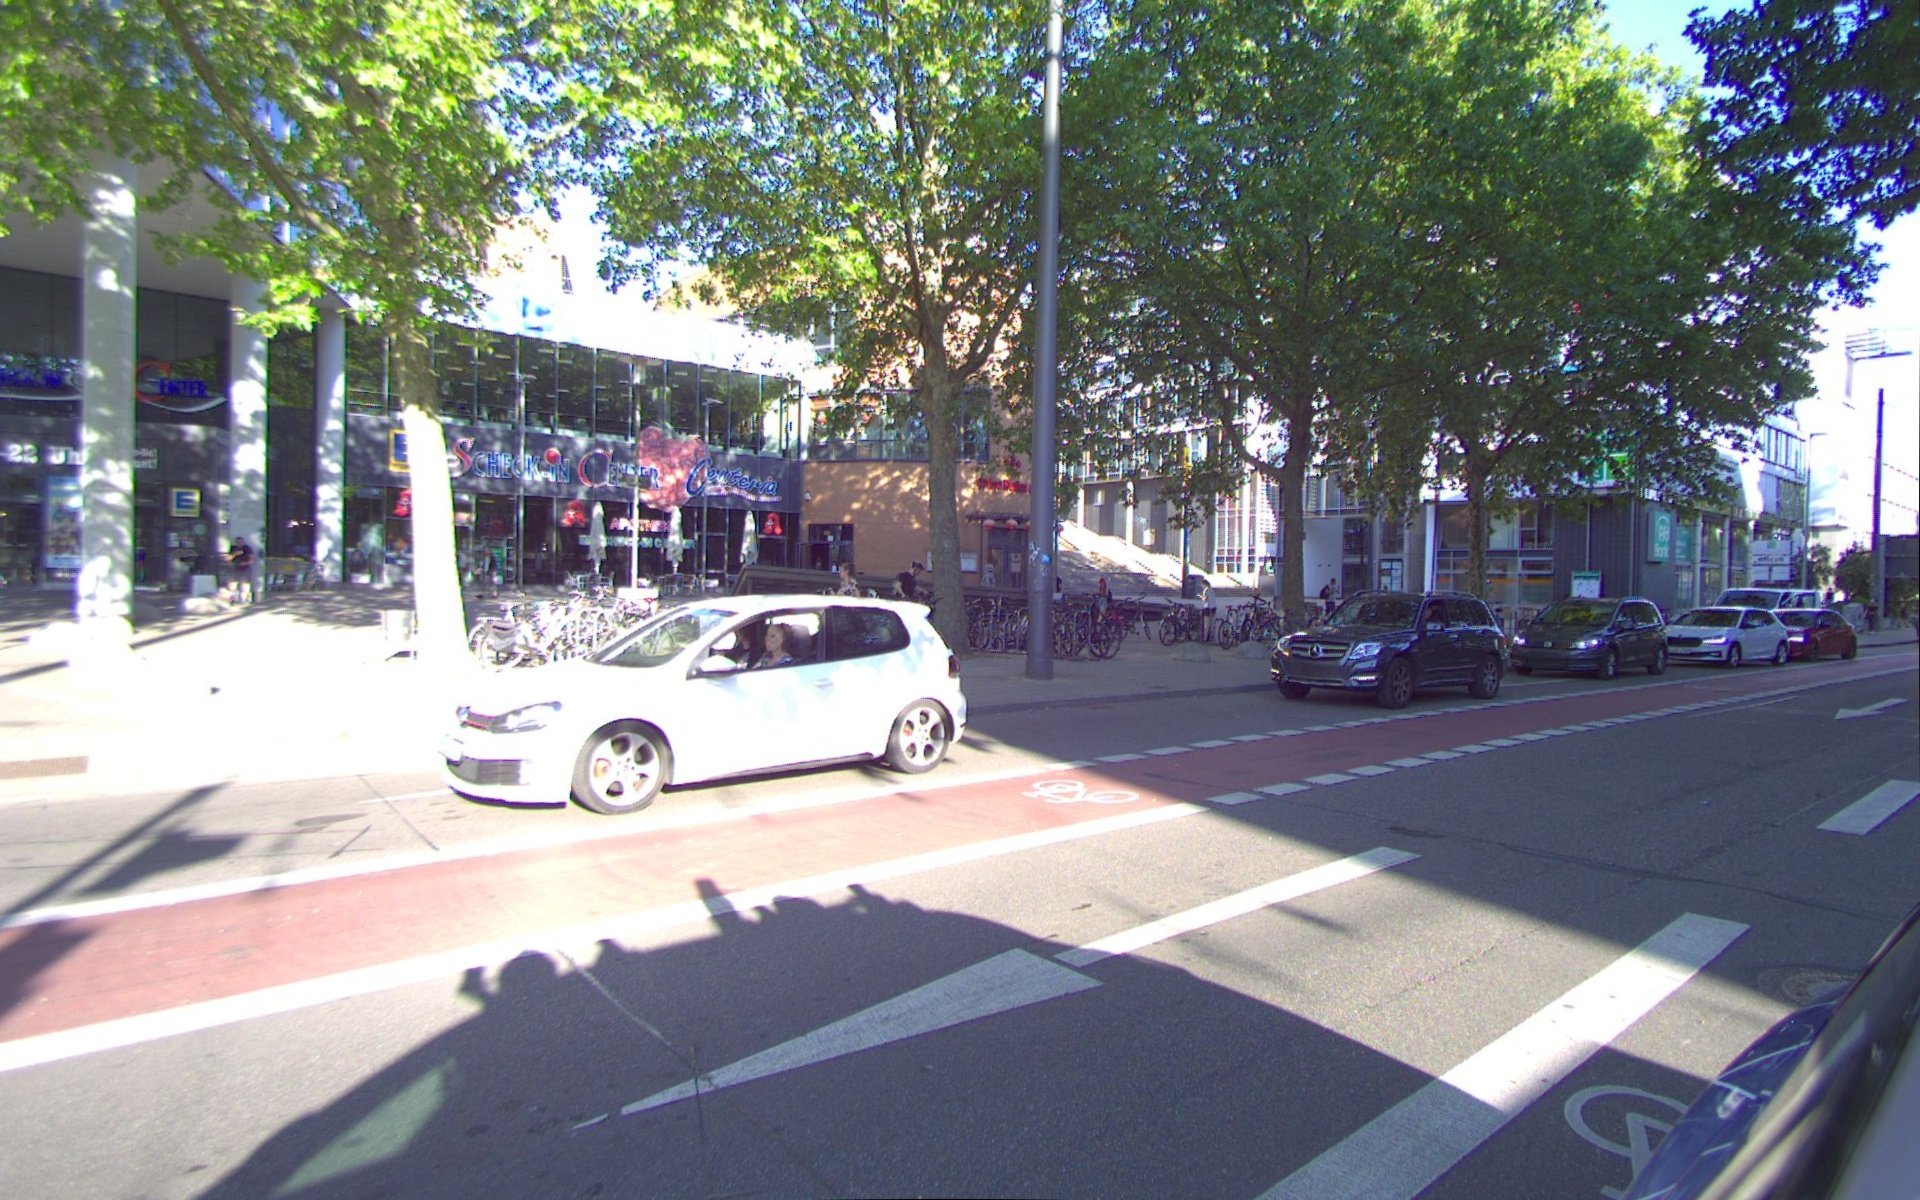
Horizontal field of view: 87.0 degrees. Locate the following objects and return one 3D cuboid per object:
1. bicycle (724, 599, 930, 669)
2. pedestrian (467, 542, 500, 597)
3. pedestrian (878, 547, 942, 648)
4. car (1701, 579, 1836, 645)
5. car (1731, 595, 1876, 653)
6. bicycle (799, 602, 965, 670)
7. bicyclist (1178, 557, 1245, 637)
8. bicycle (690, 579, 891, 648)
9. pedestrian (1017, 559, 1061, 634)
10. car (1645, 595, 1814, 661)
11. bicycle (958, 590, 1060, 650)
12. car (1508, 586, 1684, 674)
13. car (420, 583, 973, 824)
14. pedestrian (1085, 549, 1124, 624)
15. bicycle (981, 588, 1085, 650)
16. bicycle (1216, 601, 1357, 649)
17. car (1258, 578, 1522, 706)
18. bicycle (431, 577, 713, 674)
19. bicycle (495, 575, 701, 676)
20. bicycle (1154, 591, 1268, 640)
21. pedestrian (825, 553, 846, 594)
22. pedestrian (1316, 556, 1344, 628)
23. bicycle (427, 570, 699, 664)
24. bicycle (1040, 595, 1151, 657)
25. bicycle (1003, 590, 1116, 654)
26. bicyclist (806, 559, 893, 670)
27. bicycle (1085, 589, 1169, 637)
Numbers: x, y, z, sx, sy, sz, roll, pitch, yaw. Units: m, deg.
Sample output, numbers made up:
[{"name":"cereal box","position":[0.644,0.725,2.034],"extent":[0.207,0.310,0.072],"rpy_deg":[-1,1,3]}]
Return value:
[{"name":"bicycle","position":[-2.115,0.502,16.675],"extent":[3.352,1.014,1.050],"rpy_deg":[-1,0,-41]},{"name":"pedestrian","position":[-15.528,-1.003,32.983],"extent":[0.823,1.765,0.645],"rpy_deg":[0,1,-41]},{"name":"pedestrian","position":[-1.034,-0.068,21.120],"extent":[0.922,2.039,1.085],"rpy_deg":[2,1,24]},{"name":"car","position":[26.357,0.351,32.905],"extent":[5.806,1.989,1.934],"rpy_deg":[0,0,-36]},{"name":"car","position":[23.447,0.635,28.101],"extent":[4.112,1.508,1.838],"rpy_deg":[0,-1,-31]},{"name":"bicycle","position":[-1.199,0.537,16.056],"extent":[2.591,0.960,0.924],"rpy_deg":[-1,0,-41]},{"name":"bicyclist","position":[6.619,-0.101,26.667],"extent":[1.132,2.039,1.301],"rpy_deg":[0,1,-24]},{"name":"bicycle","position":[-2.867,0.190,17.512],"extent":[3.352,1.013,1.051],"rpy_deg":[-1,6,-41]},{"name":"pedestrian","position":[2.433,-0.126,31.325],"extent":[1.195,2.276,1.052],"rpy_deg":[0,0,-3]},{"name":"car","position":[19.005,0.639,24.980],"extent":[4.110,1.508,1.839],"rpy_deg":[0,0,-29]},{"name":"bicycle","position":[1.037,0.383,20.932],"extent":[2.251,1.177,0.657],"rpy_deg":[-1,0,-39]},{"name":"car","position":[13.358,0.557,21.160],"extent":[4.309,1.656,1.710],"rpy_deg":[0,0,-37]},{"name":"car","position":[-1.902,0.611,7.979],"extent":[3.916,1.446,1.638],"rpy_deg":[0,0,-40]},{"name":"pedestrian","position":[4.454,-0.410,31.260],"extent":[0.884,2.261,0.845],"rpy_deg":[0,0,-19]},{"name":"bicycle","position":[1.498,0.360,20.384],"extent":[2.264,1.177,0.671],"rpy_deg":[-1,0,-40]},{"name":"bicycle","position":[7.546,0.556,23.396],"extent":[3.136,1.038,0.979],"rpy_deg":[0,0,-18]},{"name":"car","position":[6.497,0.535,15.112],"extent":[4.170,1.656,1.770],"rpy_deg":[0,0,-37]},{"name":"bicycle","position":[-5.520,0.310,14.693],"extent":[3.744,1.236,0.758],"rpy_deg":[-2,1,-35]},{"name":"bicycle","position":[-4.851,0.298,13.690],"extent":[2.504,1.236,0.758],"rpy_deg":[-2,1,-35]},{"name":"bicycle","position":[6.562,0.370,26.791],"extent":[1.124,1.097,3.342],"rpy_deg":[0,2,-23]},{"name":"pedestrian","position":[-5.518,-1.168,44.835],"extent":[0.640,1.765,0.659],"rpy_deg":[2,1,31]},{"name":"pedestrian","position":[14.064,-0.307,38.495],"extent":[0.967,2.681,0.897],"rpy_deg":[0,0,18]},{"name":"bicycle","position":[-5.945,0.307,15.427],"extent":[3.743,1.236,0.729],"rpy_deg":[4,-2,-35]},{"name":"bicycle","position":[2.579,0.461,19.056],"extent":[2.295,1.073,0.682],"rpy_deg":[-1,1,-39]},{"name":"bicycle","position":[1.966,0.398,19.765],"extent":[2.355,1.177,0.750],"rpy_deg":[-1,0,-40]},{"name":"bicyclist","position":[-1.703,0.201,15.638],"extent":[1.005,1.641,0.902],"rpy_deg":[0,0,-41]},{"name":"bicycle","position":[4.500,0.318,27.113],"extent":[2.653,1.215,0.698],"rpy_deg":[-1,1,-41]}]
